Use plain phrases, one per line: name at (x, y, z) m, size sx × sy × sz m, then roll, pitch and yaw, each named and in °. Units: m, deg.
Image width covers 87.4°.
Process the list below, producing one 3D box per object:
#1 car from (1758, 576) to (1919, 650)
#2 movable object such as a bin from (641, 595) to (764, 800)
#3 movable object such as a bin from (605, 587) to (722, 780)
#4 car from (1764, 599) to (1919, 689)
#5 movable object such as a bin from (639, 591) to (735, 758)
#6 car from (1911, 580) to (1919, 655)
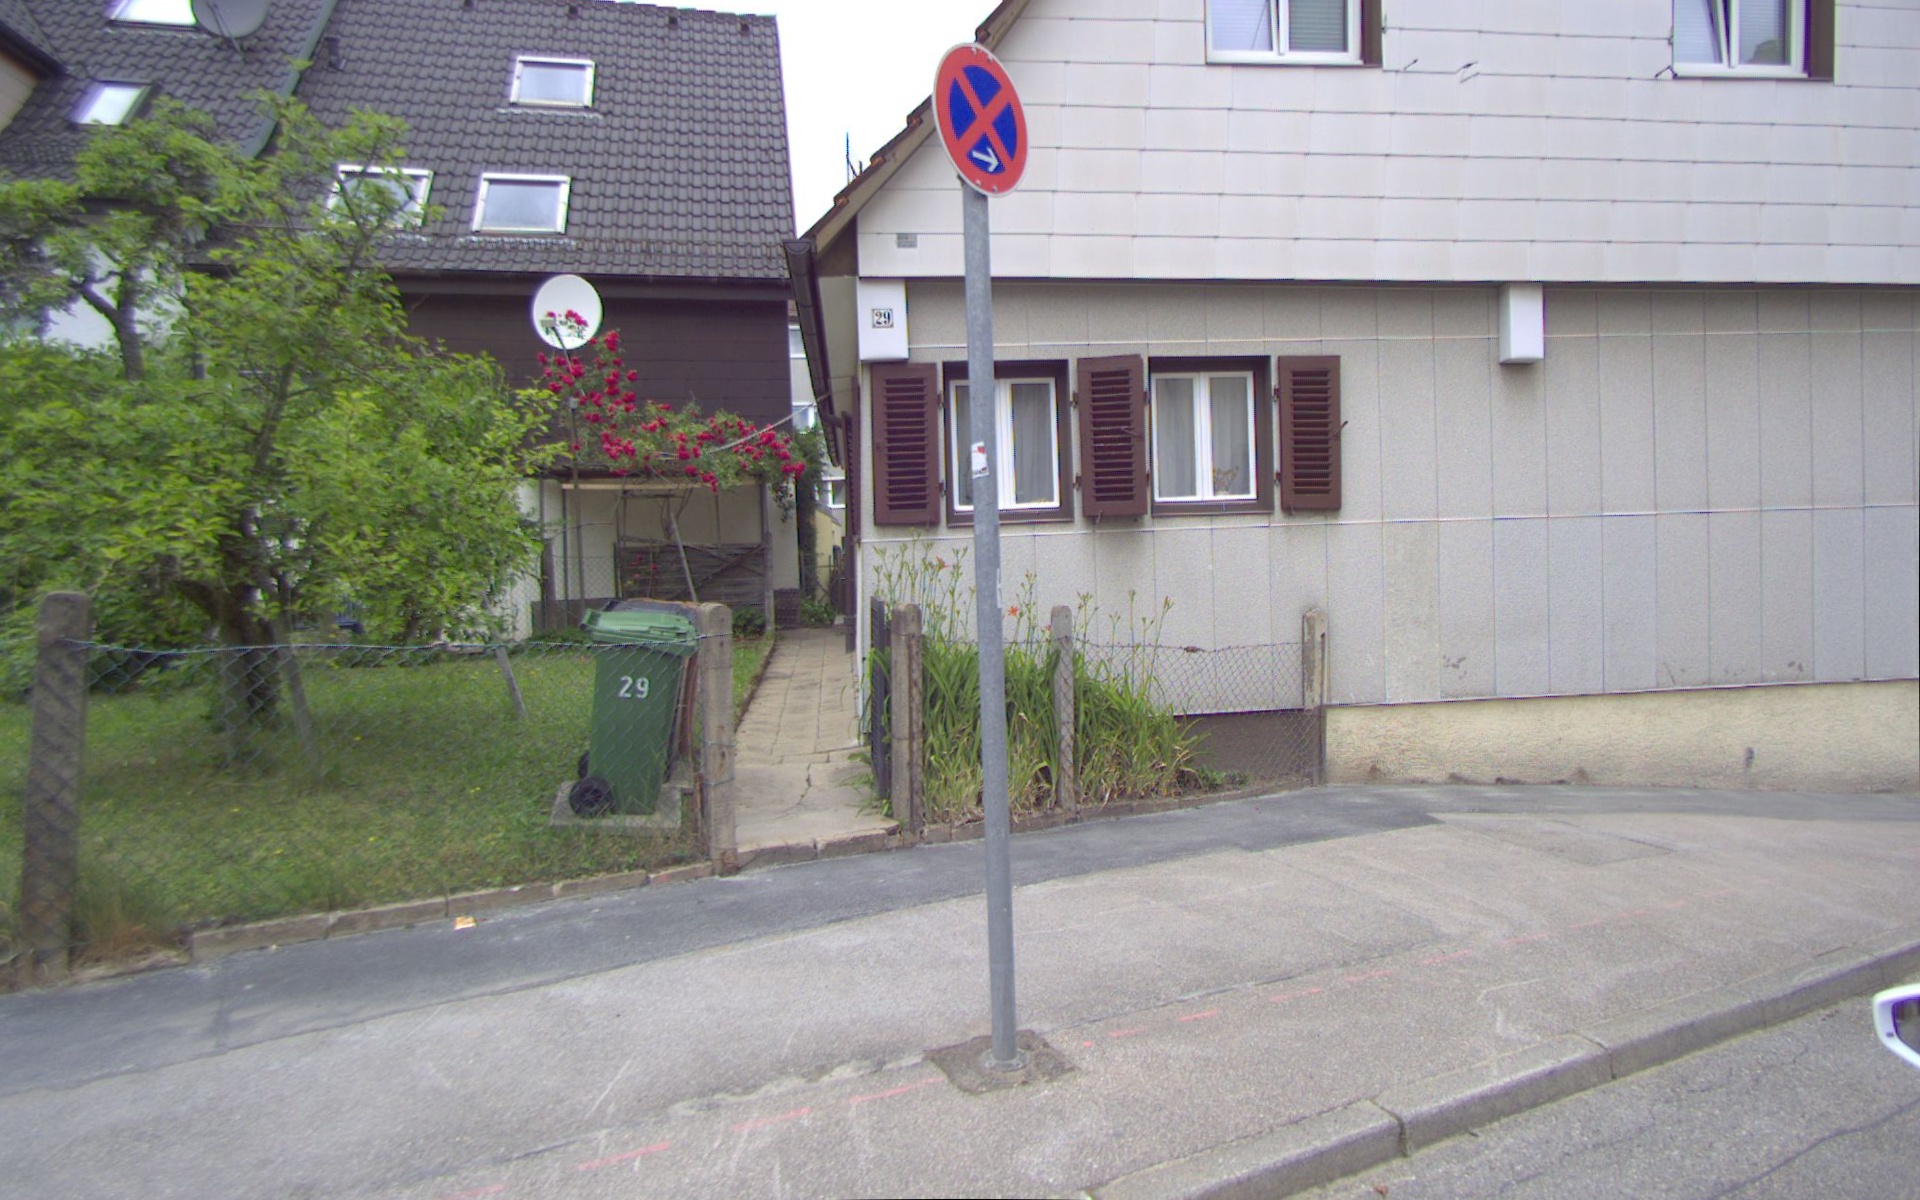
car at (24.384, 0.273, 27.347) m, size 1.901 × 1.735 × 4.376 m, roll -1°, pitch 2°, yaw 1°
movable object such as a bin at (-1.234, 0.454, 4.874) m, size 0.481 × 0.896 × 0.527 m, roll 3°, pitch 4°, yaw -8°
movable object such as a bin at (-1.563, 0.425, 5.347) m, size 0.481 × 0.929 × 0.527 m, roll 3°, pitch 4°, yaw -8°
car at (18.831, 0.835, 20.243) m, size 1.763 × 1.480 × 4.295 m, roll -4°, pitch 1°, yaw 0°
movable object such as a bin at (-1.591, 0.423, 5.900) m, size 0.444 × 0.890 × 0.495 m, roll 3°, pitch 4°, yaw -8°
car at (24.013, 0.453, 22.196) m, size 1.908 × 1.803 × 4.369 m, roll 0°, pitch 1°, yaw 2°
